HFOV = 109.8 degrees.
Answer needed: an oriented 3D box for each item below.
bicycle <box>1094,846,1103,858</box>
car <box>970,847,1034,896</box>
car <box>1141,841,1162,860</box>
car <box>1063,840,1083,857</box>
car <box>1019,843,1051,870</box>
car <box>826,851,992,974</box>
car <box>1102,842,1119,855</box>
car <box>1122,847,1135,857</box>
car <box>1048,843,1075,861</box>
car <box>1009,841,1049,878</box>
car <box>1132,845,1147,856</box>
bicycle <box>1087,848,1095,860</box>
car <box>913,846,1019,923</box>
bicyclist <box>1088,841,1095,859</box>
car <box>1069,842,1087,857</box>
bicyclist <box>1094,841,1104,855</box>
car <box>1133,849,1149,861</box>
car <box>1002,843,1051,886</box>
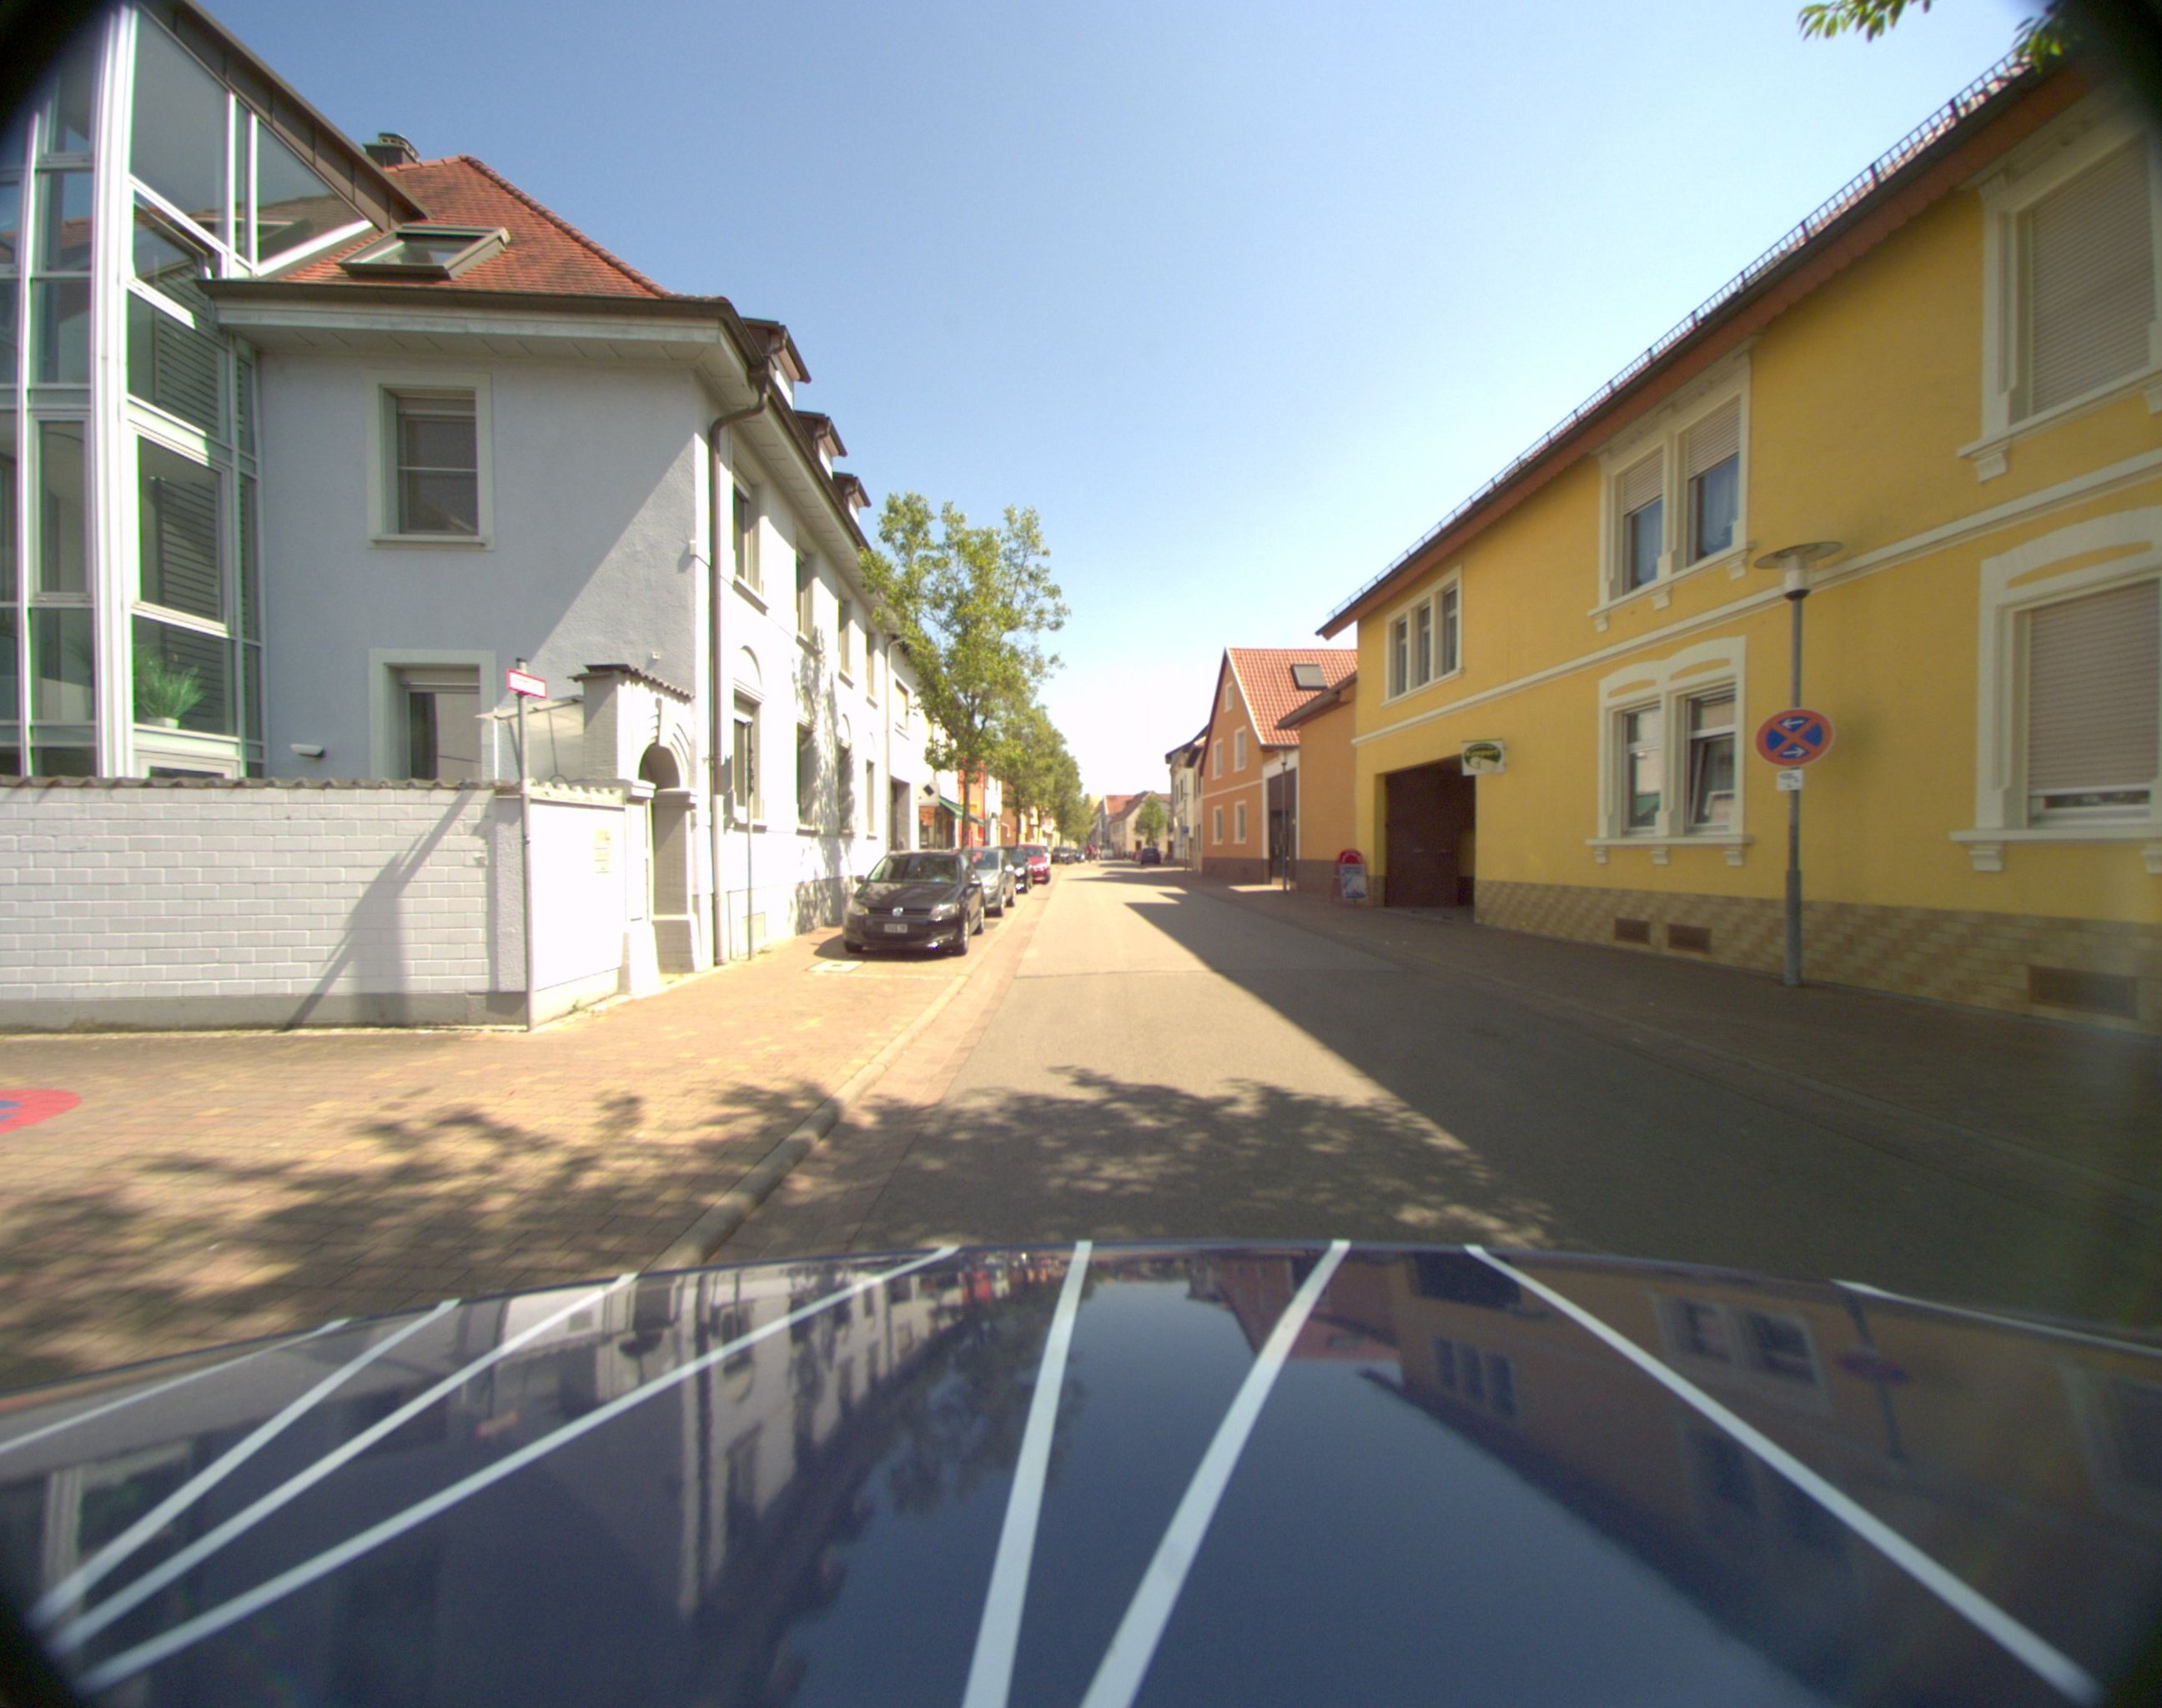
[{"bbox_3d":[1.995,-0.217,86.448,0.959,1.363,2.406,0,1,3],"label":"bicycle"},{"bbox_3d":[-2.524,0.522,24.991,1.741,1.504,3.734,0,0,-1],"label":"car"},{"bbox_3d":[6.398,-0.358,68.970,1.863,1.620,4.048,0,1,6],"label":"car"},{"bbox_3d":[-0.843,-0.633,82.259,1.998,1.759,4.108,0,1,3],"label":"car"},{"bbox_3d":[-2.715,0.112,45.877,1.715,1.534,3.997,0,1,-1],"label":"car"},{"bbox_3d":[-2.428,0.739,11.642,1.708,1.473,3.920,2,1,-1],"label":"car"},{"bbox_3d":[5.126,-0.930,131.914,2.443,2.224,4.958,0,1,-3],"label":"car"},{"bbox_3d":[7.507,-0.362,119.580,1.572,1.452,3.799,0,1,-3],"label":"car"},{"bbox_3d":[-1.734,-0.203,69.349,1.928,1.594,4.110,0,1,7],"label":"car"},{"bbox_3d":[-2.664,0.220,39.766,1.872,1.675,4.659,-2,2,-2],"label":"car"},{"bbox_3d":[8.127,-0.481,106.100,1.572,1.452,3.799,0,1,-3],"label":"car"},{"bbox_3d":[1.065,-0.013,79.112,0.635,1.227,1.894,2,0,6],"label":"bicycle"},{"bbox_3d":[-2.462,0.595,17.241,1.721,1.473,4.095,1,1,1],"label":"car"},{"bbox_3d":[1.087,-0.412,79.171,0.645,1.766,0.722,2,0,6],"label":"bicyclist"},{"bbox_3d":[-0.342,-0.596,91.055,1.998,1.759,4.108,0,1,3],"label":"car"},{"bbox_3d":[2.042,-0.718,86.775,1.028,1.635,1.025,0,1,3],"label":"bicyclist"},{"bbox_3d":[7.869,0.115,99.775,1.571,1.452,3.801,2,-1,-1],"label":"car"},{"bbox_3d":[-2.201,0.391,31.163,1.834,1.579,4.086,-1,1,-3],"label":"car"}]
